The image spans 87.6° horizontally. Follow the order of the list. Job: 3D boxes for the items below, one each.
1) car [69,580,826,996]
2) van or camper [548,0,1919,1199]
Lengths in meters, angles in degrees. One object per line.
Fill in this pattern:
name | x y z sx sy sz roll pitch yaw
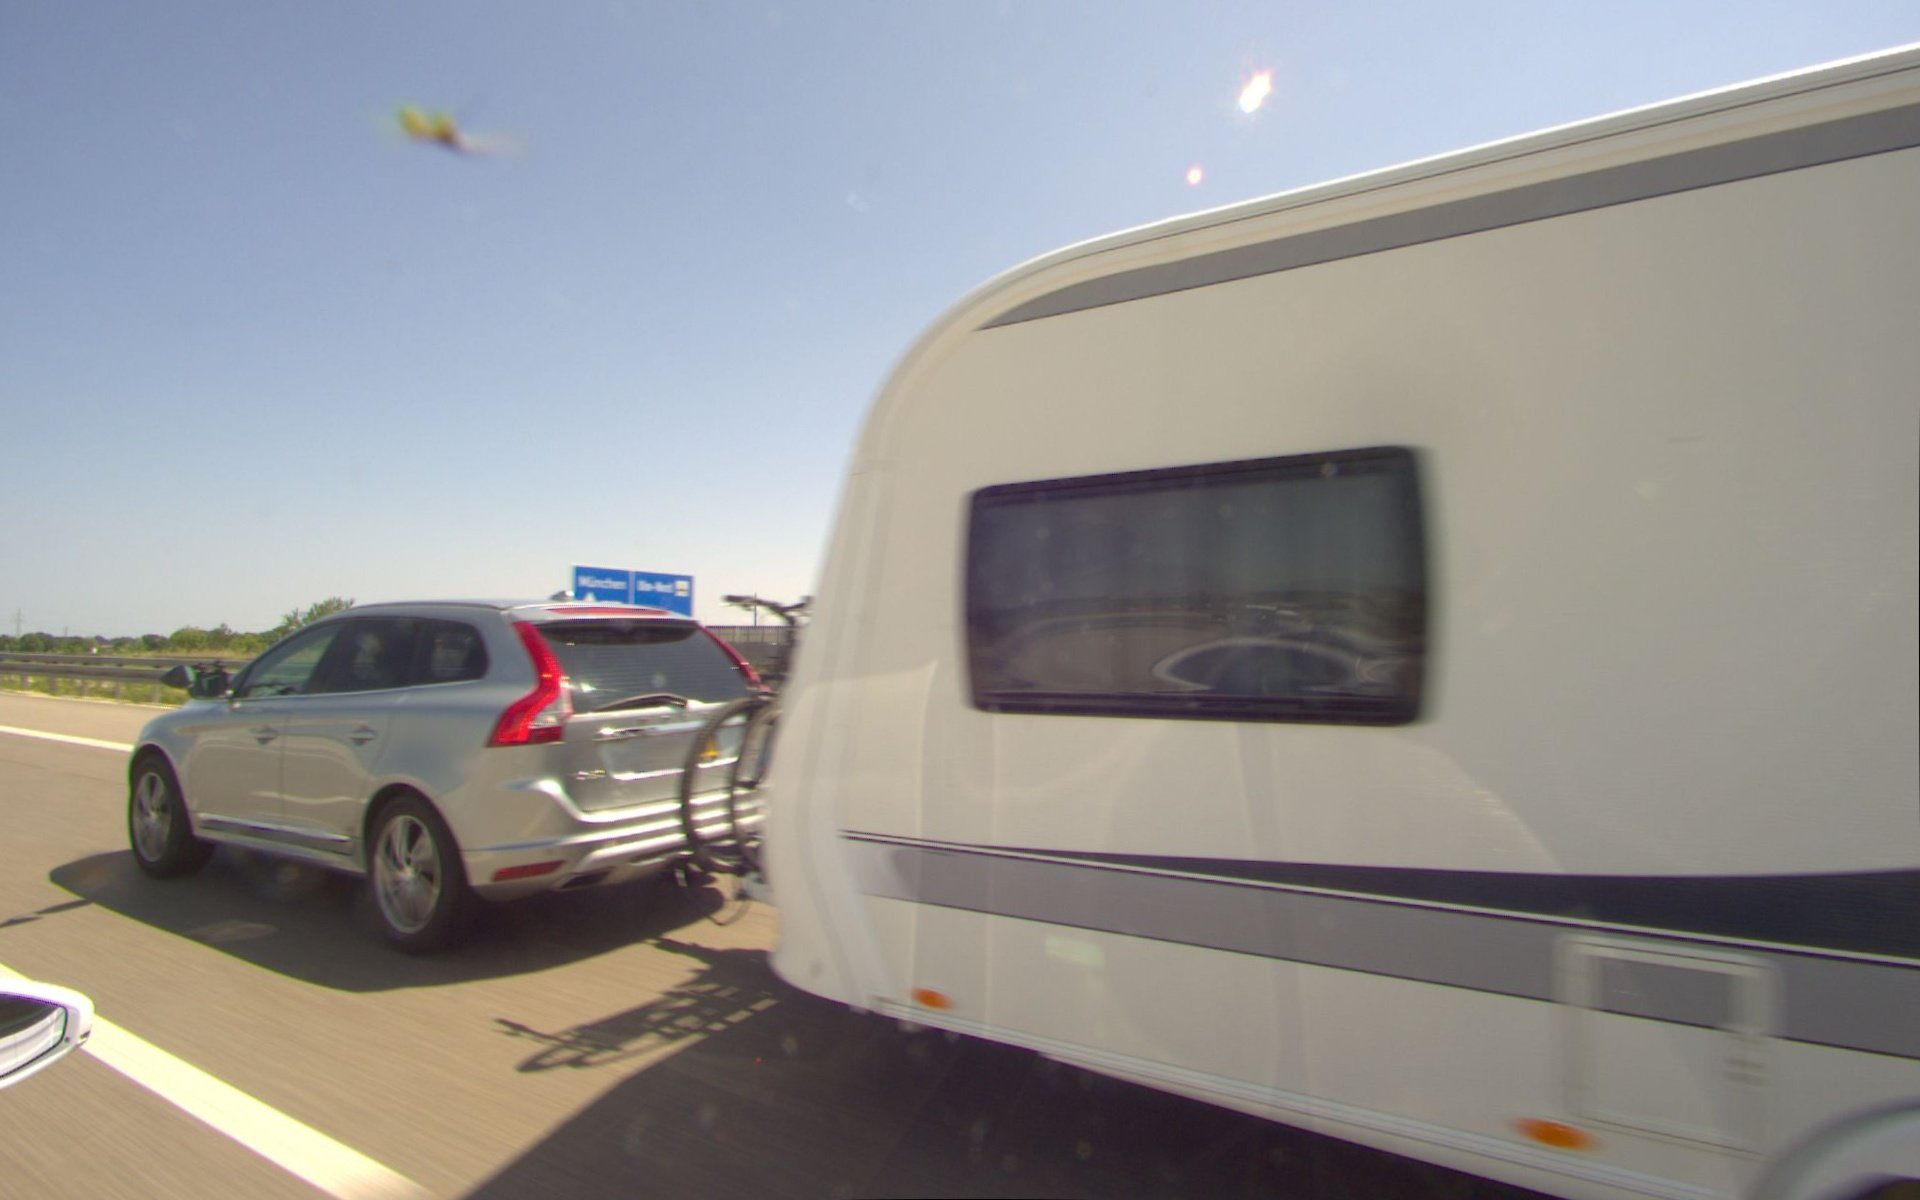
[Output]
car | -3.281 0.789 6.055 4.833 1.644 1.877 -1 -1 32
van or camper | 2.480 0.236 2.521 7.704 2.626 2.508 0 -1 32
